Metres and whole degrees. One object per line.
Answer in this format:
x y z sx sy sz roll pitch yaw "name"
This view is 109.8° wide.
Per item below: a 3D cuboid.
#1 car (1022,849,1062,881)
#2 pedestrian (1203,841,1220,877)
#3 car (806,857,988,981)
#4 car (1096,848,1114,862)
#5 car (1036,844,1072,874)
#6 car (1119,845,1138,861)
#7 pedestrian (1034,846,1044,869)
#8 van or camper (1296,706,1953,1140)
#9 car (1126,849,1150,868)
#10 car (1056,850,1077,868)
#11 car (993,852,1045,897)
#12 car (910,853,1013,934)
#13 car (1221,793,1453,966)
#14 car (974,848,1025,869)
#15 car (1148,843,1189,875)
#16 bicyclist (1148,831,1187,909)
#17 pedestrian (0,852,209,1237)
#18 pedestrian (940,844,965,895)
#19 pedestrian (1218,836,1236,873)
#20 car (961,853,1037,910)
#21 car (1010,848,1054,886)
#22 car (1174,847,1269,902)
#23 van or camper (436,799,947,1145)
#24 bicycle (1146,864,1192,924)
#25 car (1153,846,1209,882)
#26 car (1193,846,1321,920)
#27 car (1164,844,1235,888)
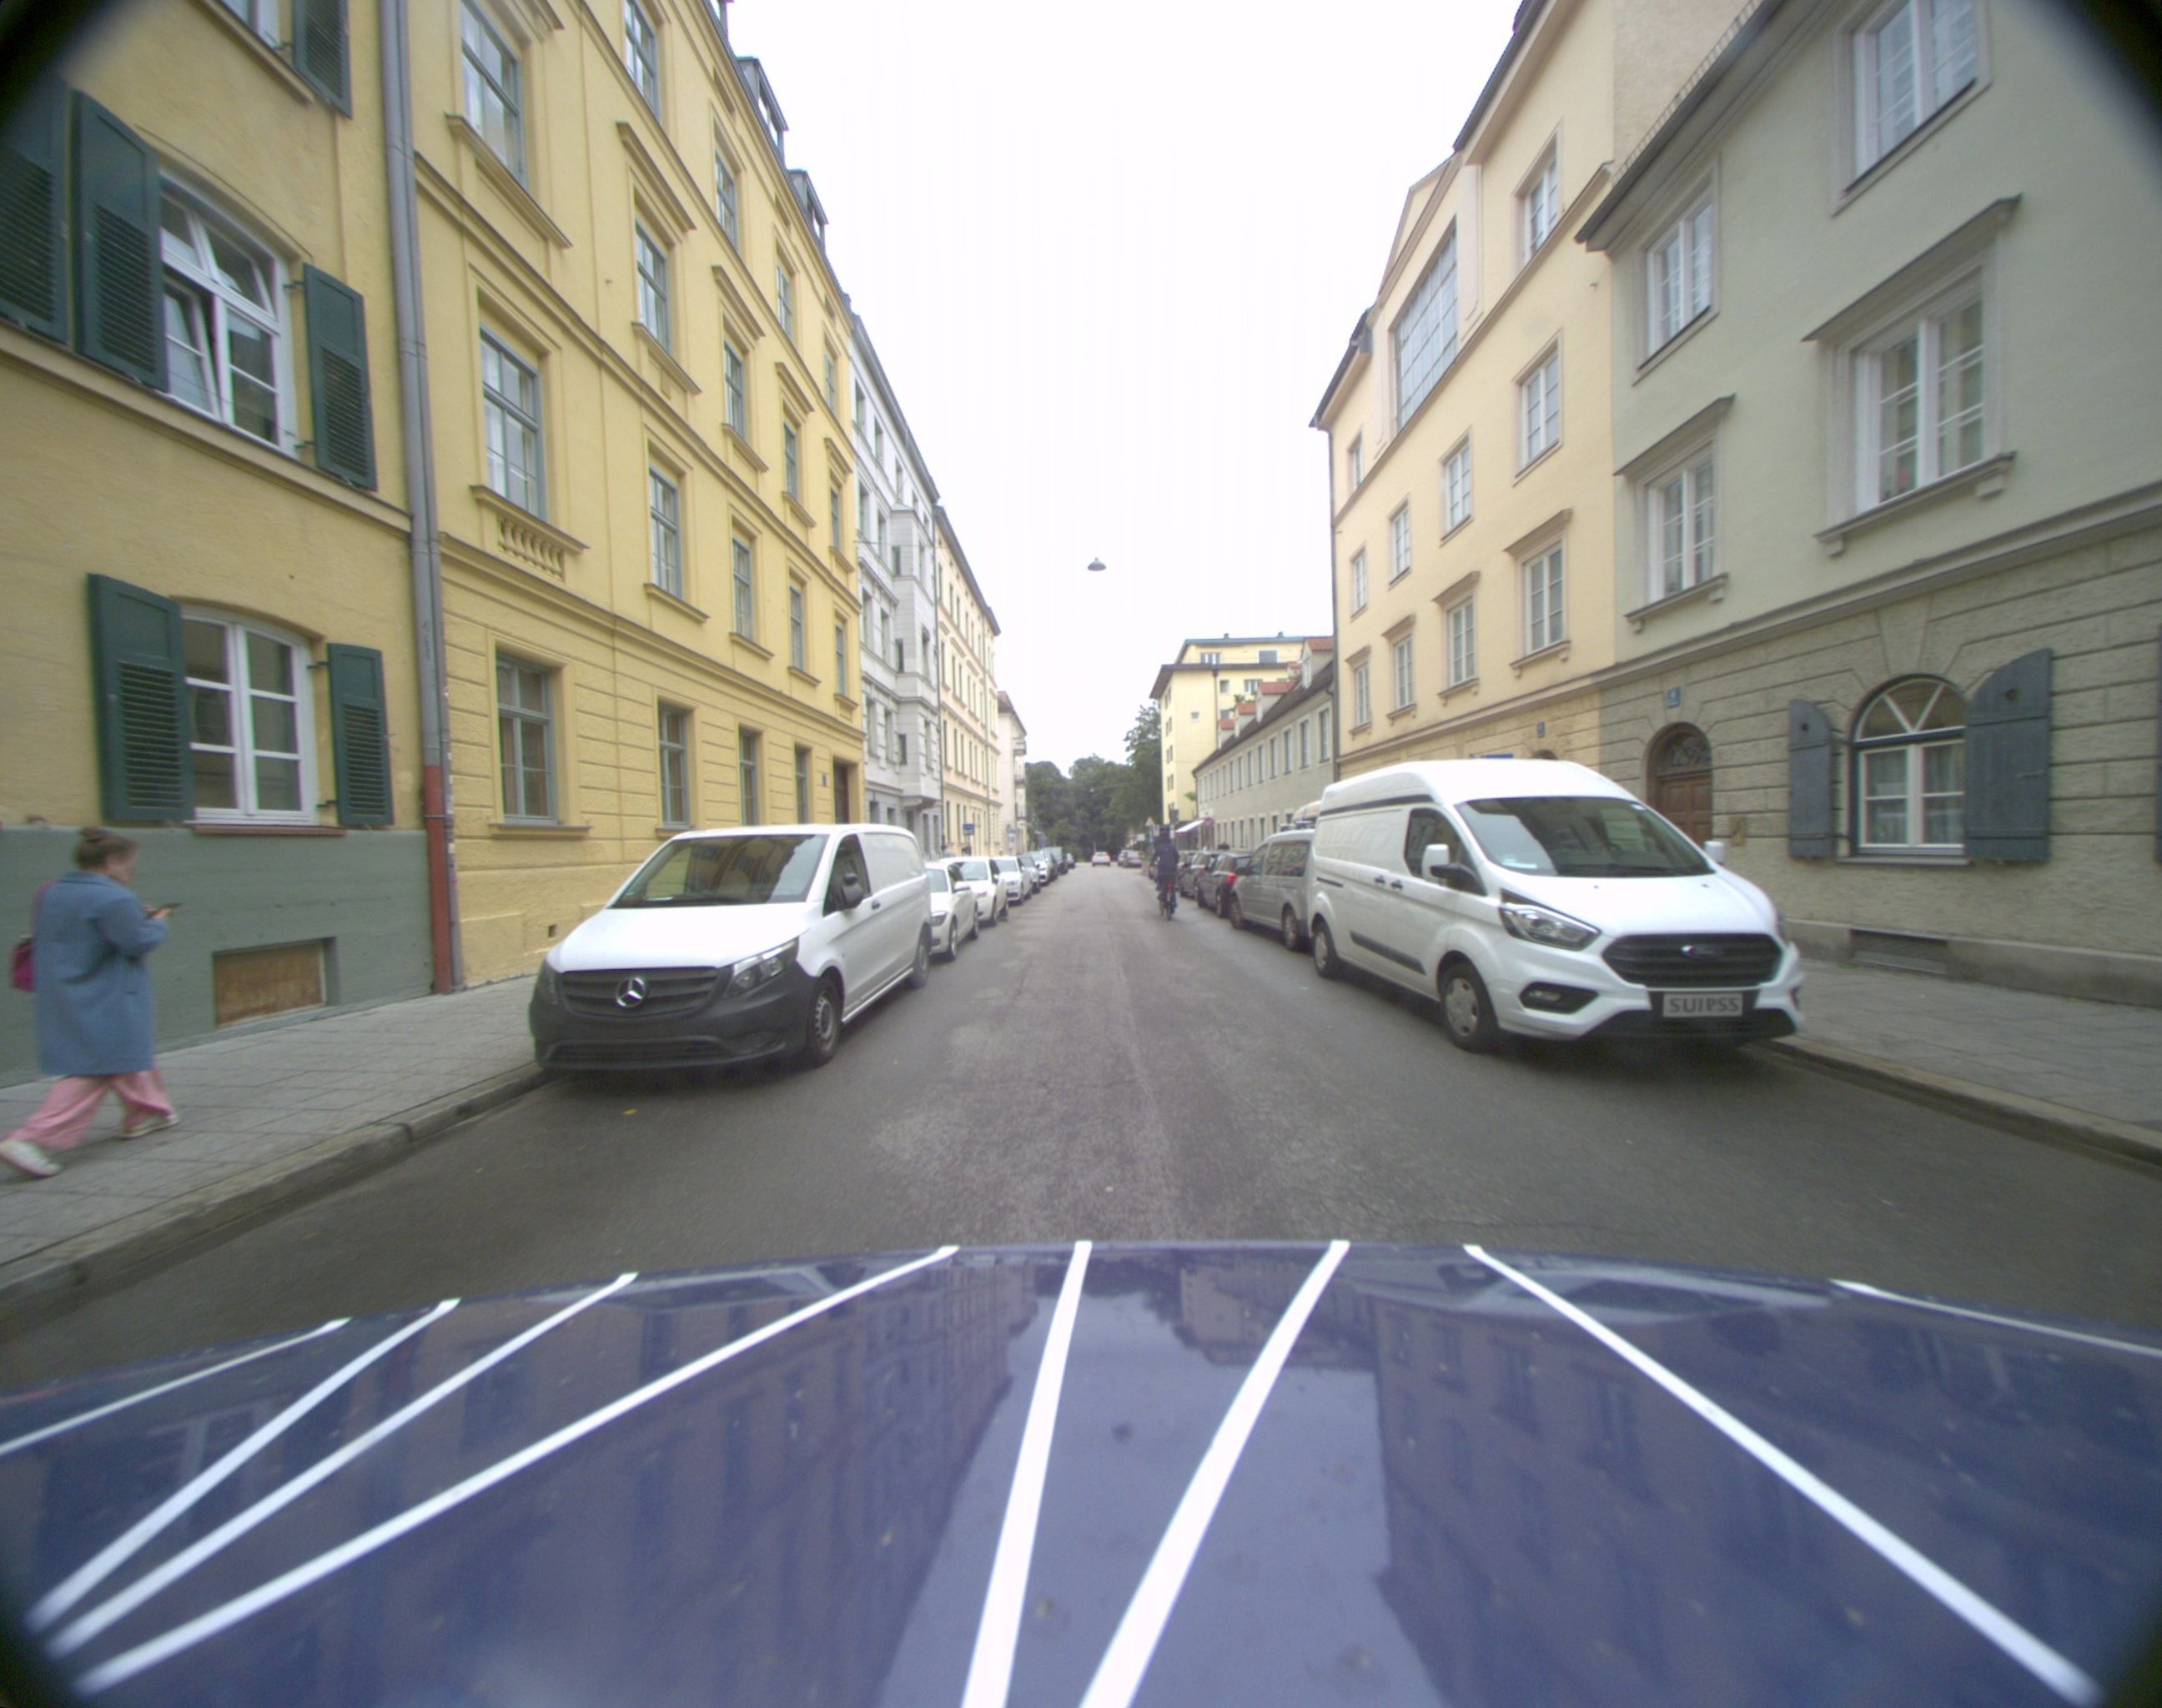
-2.019 0.535 40.332 1.721 1.557 4.142 -2 1 2 "car"
5.944 0.217 34.569 0.614 1.589 0.662 -2 1 -2 "pedestrian"
-2.685 0.859 12.233 1.820 1.501 4.586 -2 1 -1 "car"
2.397 0.086 76.720 1.793 1.409 3.904 0 1 1 "car"
-1.755 0.276 51.756 1.998 1.850 5.114 -1 1 3 "car"
4.812 -0.167 77.787 1.711 1.550 3.999 -2 1 1 "car"
-3.405 0.283 61.396 0.698 1.792 0.730 -2 1 1 "pedestrian"
3.670 0.337 6.797 1.998 2.298 5.477 -1 1 1 "van or camper"
4.780 0.350 63.690 1.711 1.491 3.999 -2 1 1 "car"
-1.294 0.398 69.302 1.711 1.491 3.999 -2 1 1 "car"
-2.284 0.709 28.987 1.721 1.501 3.935 -2 1 -2 "car"
-2.537 0.778 16.916 1.627 1.501 3.761 -2 1 0 "car"
3.787 0.296 12.226 1.863 2.189 4.558 -3 1 -4 "car"
-6.624 0.344 62.155 3.998 1.557 1.712 -2 1 -2 "car"
4.441 0.237 39.079 1.573 1.506 3.422 -2 1 -2 "car"
1.850 0.333 16.374 0.688 1.618 0.853 -2 1 0 "bicyclist"
-4.923 0.817 3.582 0.598 1.629 0.896 1 1 -1 "pedestrian"
-4.752 0.551 28.140 0.703 1.852 0.805 -2 1 -1 "pedestrian"
6.693 0.013 34.842 0.582 1.689 0.806 -2 1 -2 "pedestrian"
-2.427 0.770 23.552 1.721 1.501 4.468 -2 1 1 "car"
-2.216 0.556 35.335 1.721 1.592 4.322 -2 1 0 "car"
4.044 0.536 22.597 1.862 1.393 4.268 -2 1 -2 "car"
-2.759 0.667 7.109 1.998 2.002 5.232 -2 1 0 "van or camper"
1.867 0.825 16.435 0.734 1.144 1.999 -2 1 0 "bicycle"
4.296 0.395 33.274 1.862 1.393 4.268 -2 1 1 "car"
3.832 0.558 17.327 1.862 1.393 4.268 -2 1 -1 "car"
4.220 0.384 27.752 1.862 1.393 4.268 -2 1 0 "car"
